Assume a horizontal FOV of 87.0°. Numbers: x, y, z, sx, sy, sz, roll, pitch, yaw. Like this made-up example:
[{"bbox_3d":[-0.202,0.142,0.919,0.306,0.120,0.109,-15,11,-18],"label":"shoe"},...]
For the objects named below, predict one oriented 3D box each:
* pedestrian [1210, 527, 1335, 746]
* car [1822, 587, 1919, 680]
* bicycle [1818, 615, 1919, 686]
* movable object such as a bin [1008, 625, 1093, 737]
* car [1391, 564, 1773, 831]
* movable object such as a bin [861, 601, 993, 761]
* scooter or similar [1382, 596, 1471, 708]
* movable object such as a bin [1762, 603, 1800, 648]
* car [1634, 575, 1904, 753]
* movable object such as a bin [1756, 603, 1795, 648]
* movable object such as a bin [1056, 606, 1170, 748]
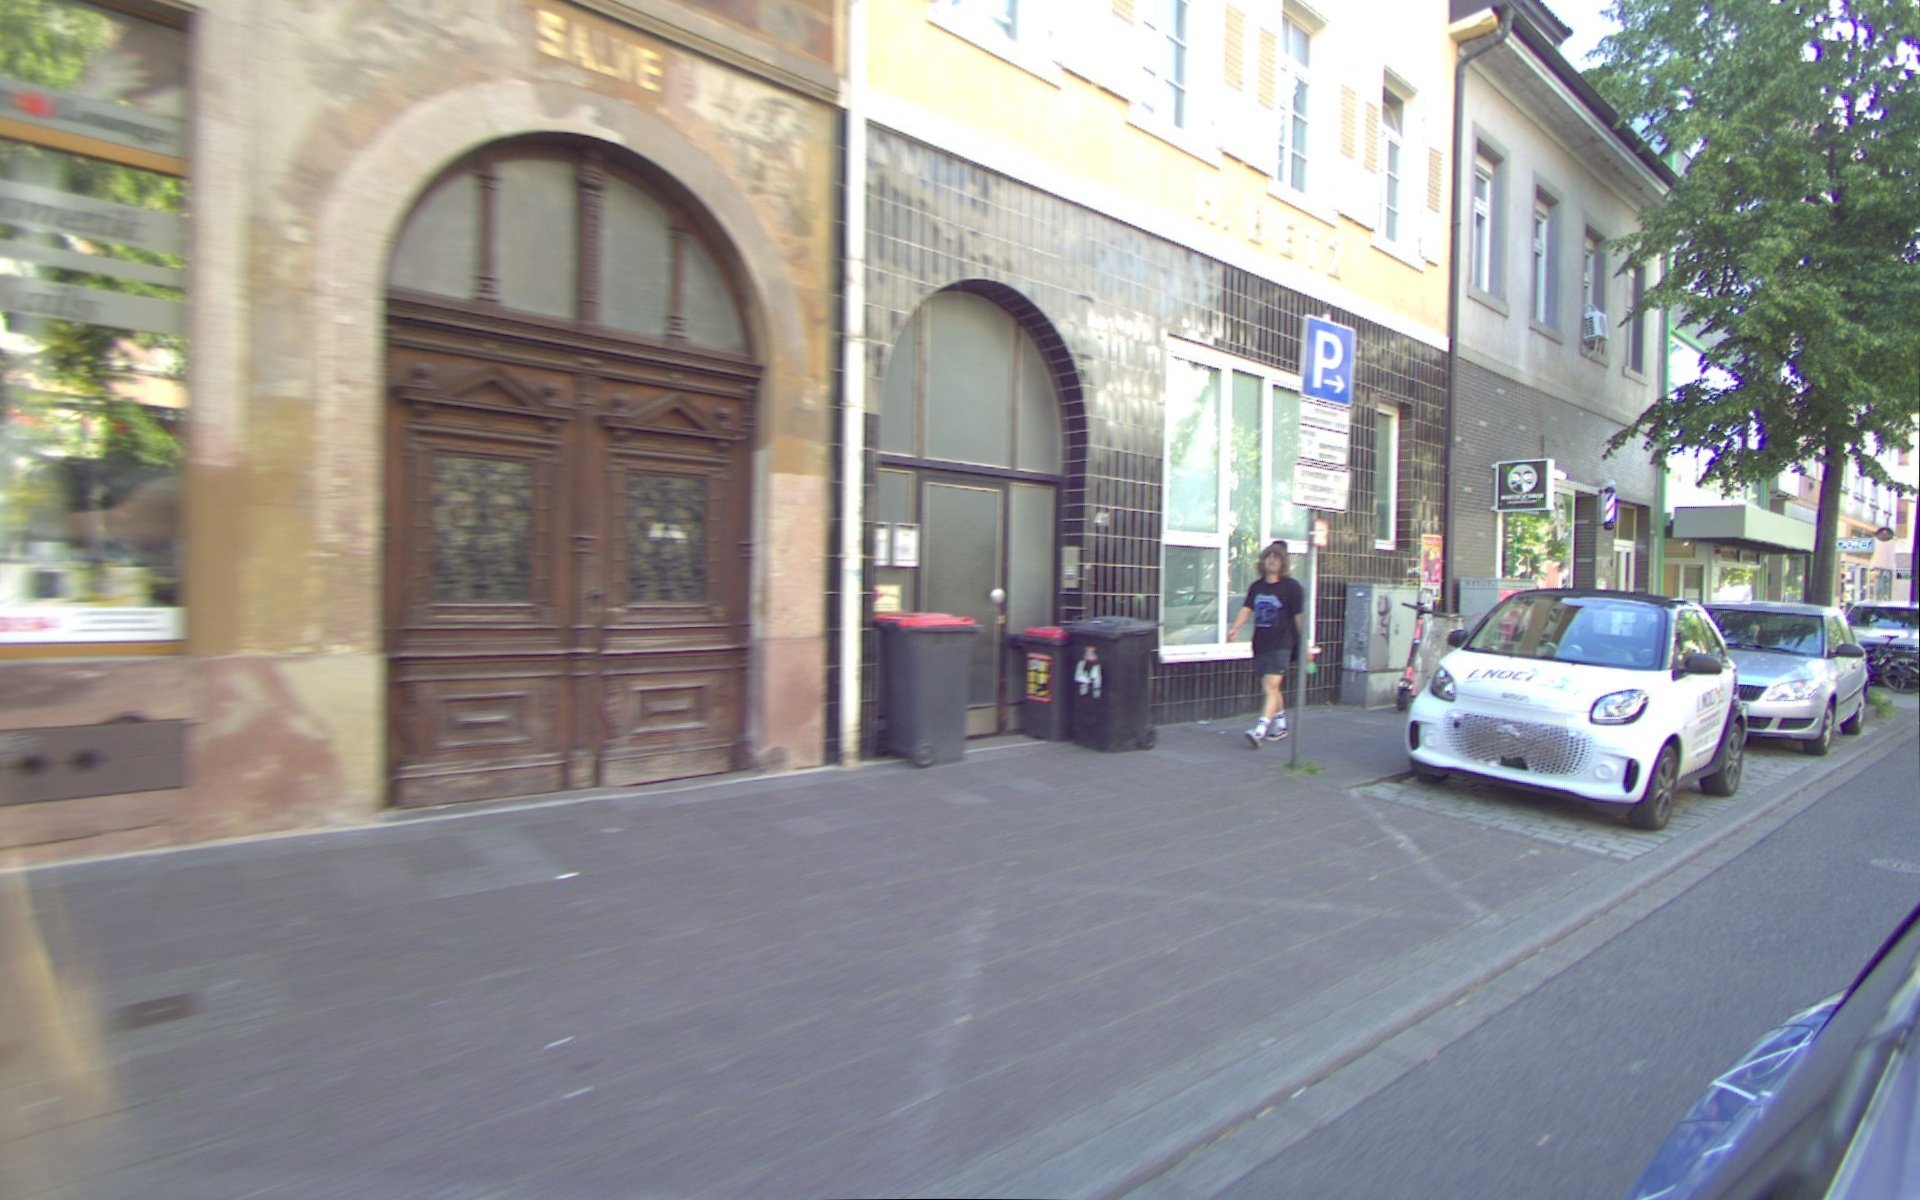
[{"bbox_3d":[2.705,0.284,8.765,0.757,1.786,0.624,1,3,-40],"label":"pedestrian"},{"bbox_3d":[18.071,0.615,19.266,4.160,1.545,1.887,1,3,-42],"label":"car"},{"bbox_3d":[16.045,0.875,17.550,0.601,1.024,1.626,1,5,-42],"label":"bicycle"},{"bbox_3d":[0.760,0.664,8.510,0.470,0.871,0.512,1,1,-40],"label":"movable object such as a bin"},{"bbox_3d":[4.791,0.569,7.681,3.008,1.547,1.617,0,3,-42],"label":"car"},{"bbox_3d":[-0.239,0.555,7.366,0.709,1.052,0.590,1,3,-40],"label":"movable object such as a bin"},{"bbox_3d":[5.352,0.576,11.595,1.147,1.201,0.400,1,3,-40],"label":"scooter or similar"},{"bbox_3d":[20.568,0.628,25.360,0.579,1.077,0.612,1,1,-40],"label":"movable object such as a bin"},{"bbox_3d":[9.240,0.593,11.434,4.161,1.547,1.617,0,4,-42],"label":"car"},{"bbox_3d":[20.113,0.617,24.966,0.579,1.077,0.615,1,1,-39],"label":"movable object such as a bin"},{"bbox_3d":[1.237,0.593,8.196,0.709,1.052,0.523,1,3,-40],"label":"movable object such as a bin"}]
